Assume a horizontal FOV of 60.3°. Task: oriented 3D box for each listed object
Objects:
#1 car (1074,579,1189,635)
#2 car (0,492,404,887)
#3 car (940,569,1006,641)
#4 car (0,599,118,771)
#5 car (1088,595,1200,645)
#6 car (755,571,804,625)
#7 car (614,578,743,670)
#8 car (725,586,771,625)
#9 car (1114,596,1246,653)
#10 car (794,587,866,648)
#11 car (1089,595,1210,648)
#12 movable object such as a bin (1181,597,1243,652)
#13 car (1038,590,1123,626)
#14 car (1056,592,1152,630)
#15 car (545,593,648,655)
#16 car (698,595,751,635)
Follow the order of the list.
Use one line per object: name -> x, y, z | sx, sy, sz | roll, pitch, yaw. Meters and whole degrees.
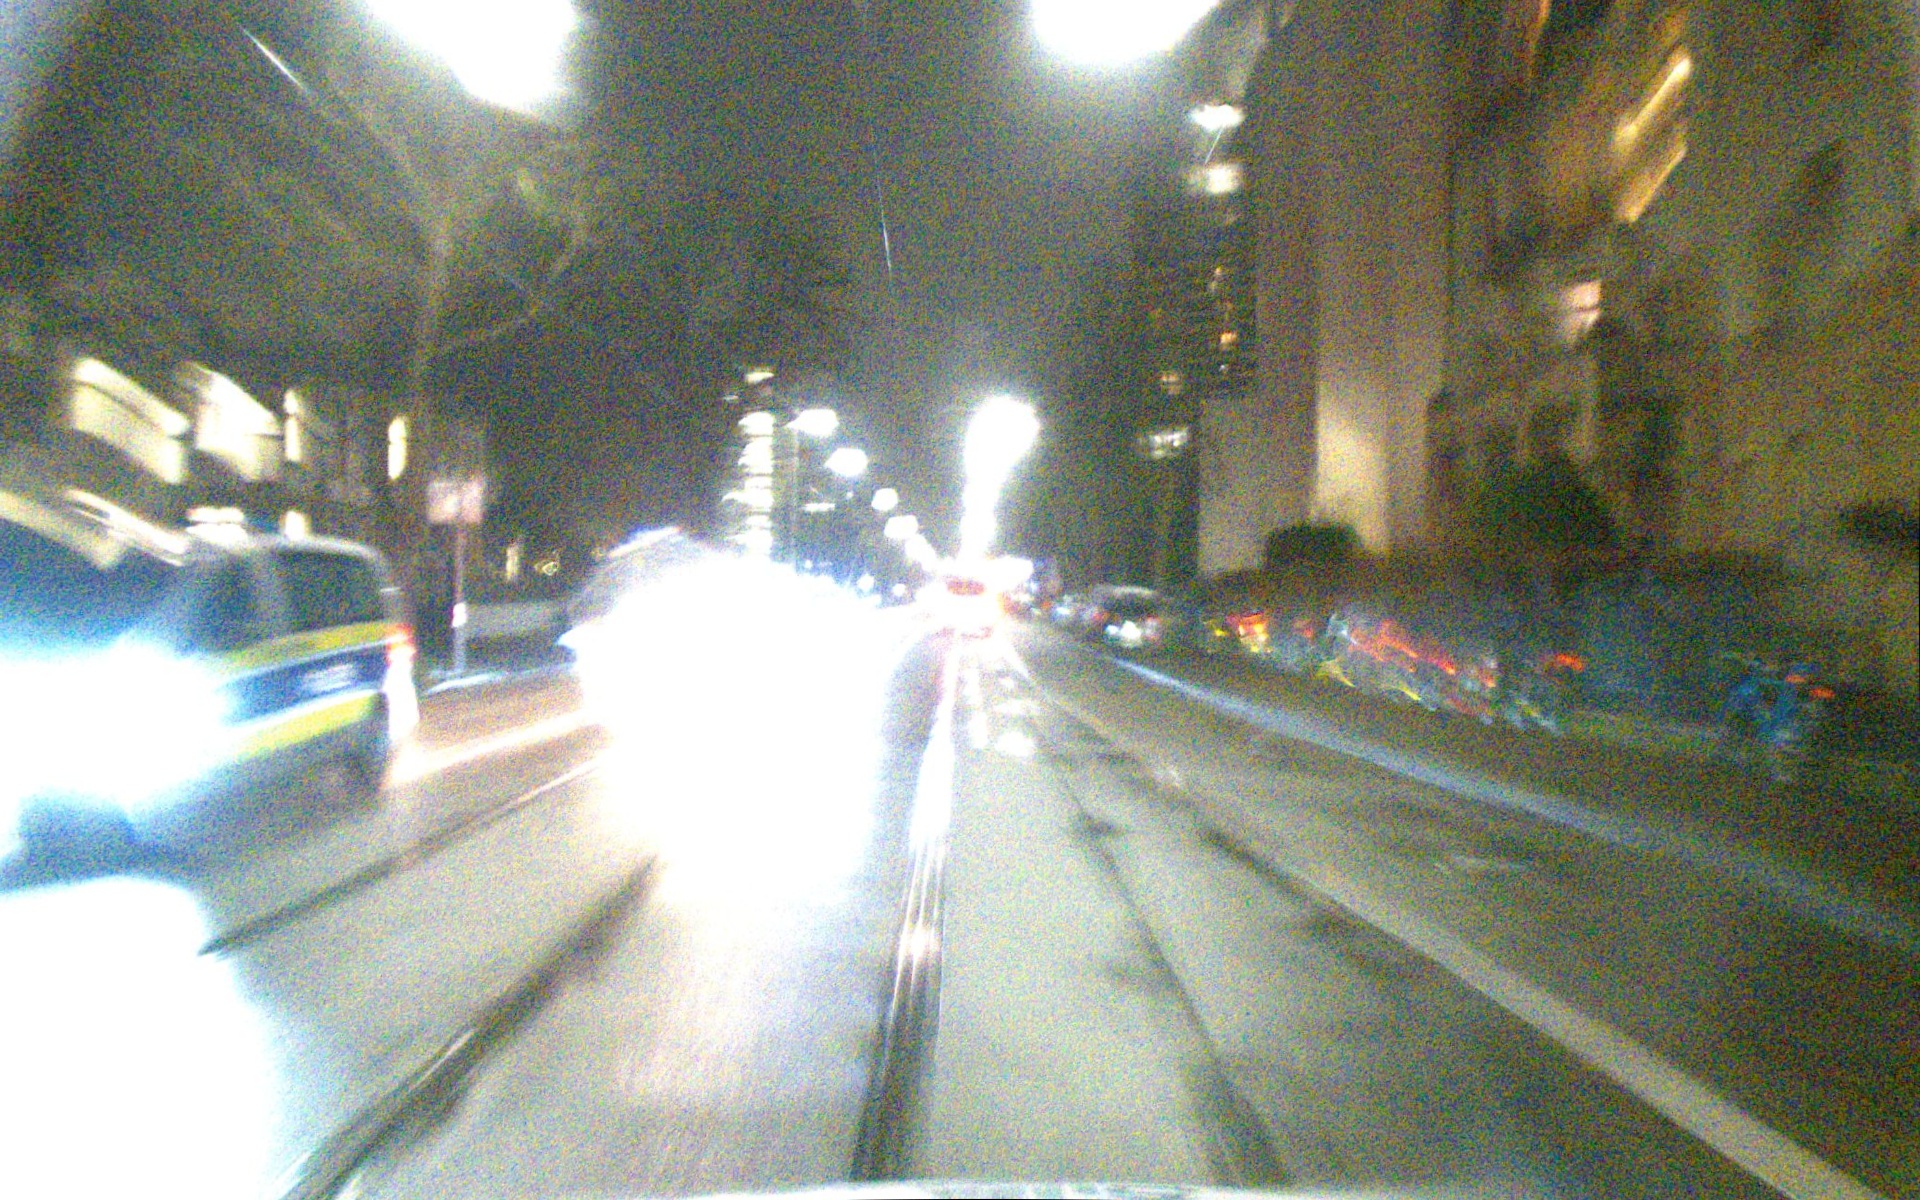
car -> 6.388, 0.286, 61.340 | 4.138, 1.871, 1.933 | 3, 0, -42
car -> -5.243, 0.423, 10.352 | 1.886, 1.912, 4.638 | -1, 1, 1
car -> 0.427, 0.172, 60.906 | 2.172, 2.484, 5.382 | 1, 0, -2
car -> -9.122, 0.722, 14.178 | 1.730, 1.431, 4.139 | 3, 0, -2
car -> 5.988, 0.654, 53.643 | 1.574, 1.463, 3.807 | 2, 0, 45
car -> -9.124, -0.140, 83.956 | 1.984, 2.542, 5.605 | 3, 0, -3
car -> -4.979, 0.387, 29.749 | 1.618, 1.505, 4.205 | -1, 0, -1
car -> -9.208, 0.222, 72.003 | 1.608, 1.533, 3.618 | 2, 2, -3
car -> 6.327, 0.720, 47.318 | 3.759, 1.483, 1.743 | 3, 0, -43
car -> -4.151, 0.535, 53.531 | 1.898, 1.847, 4.385 | -1, 0, 1
car -> 5.789, 0.647, 50.275 | 1.775, 1.514, 3.832 | 1, 0, 42
movable object such as a bin -> 6.731, 0.645, 44.175 | 1.328, 1.432, 1.021 | 1, 0, -20
car -> 5.650, 0.393, 77.259 | 3.855, 1.560, 1.794 | 2, 0, -42
car -> 5.974, 0.435, 68.232 | 1.662, 1.429, 4.432 | 2, 2, 41
car -> -9.215, 0.615, 42.176 | 1.634, 1.411, 4.001 | 3, -1, 1
car -> -9.086, 0.566, 64.019 | 1.577, 1.453, 3.807 | 2, 0, -2
